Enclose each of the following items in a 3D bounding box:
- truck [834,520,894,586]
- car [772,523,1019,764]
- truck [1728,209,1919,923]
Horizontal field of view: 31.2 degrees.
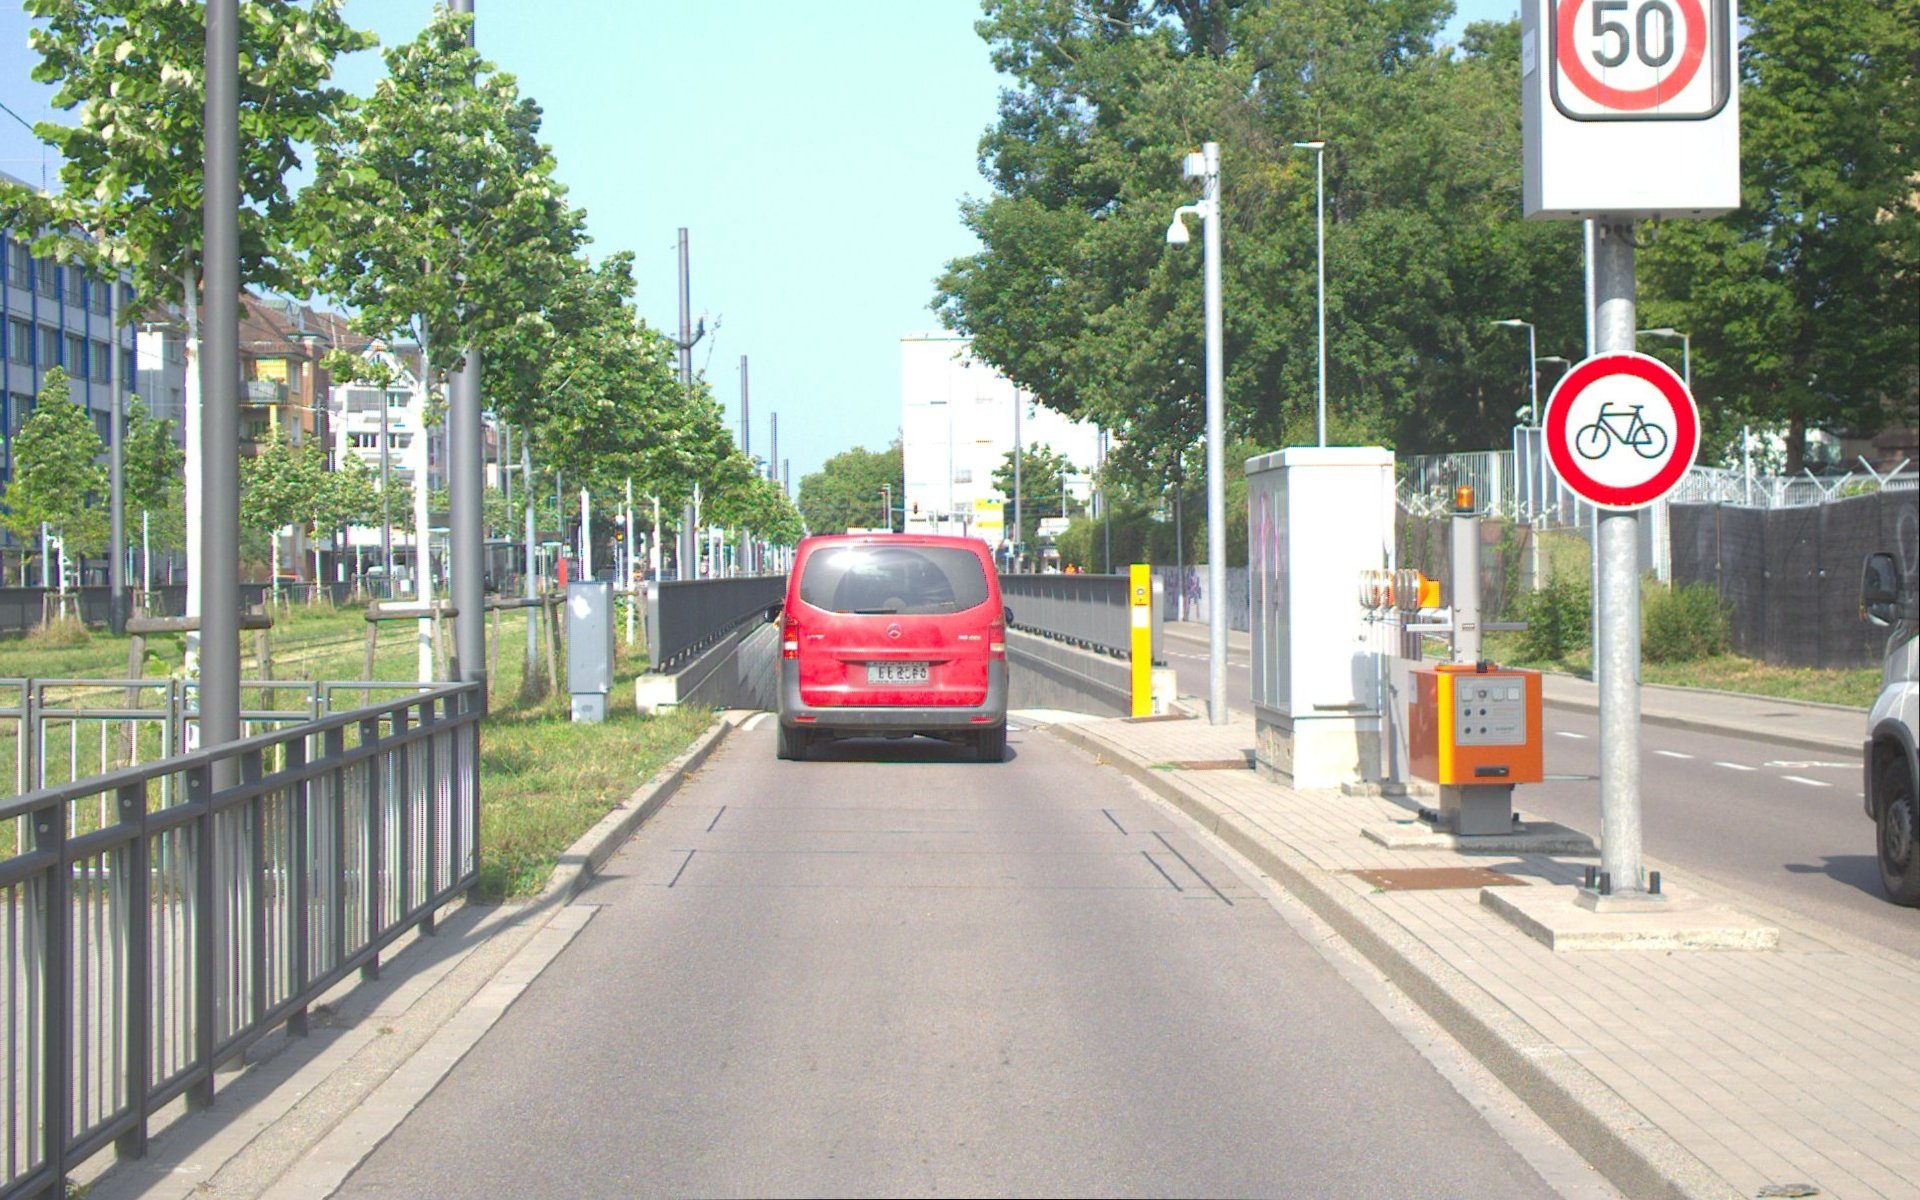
[{"bbox_3d":[-5.701,-2.731,203.246,3.390,3.713,10.452,-1,0,-2],"label":"truck"},{"bbox_3d":[-0.518,0.334,29.107,1.901,1.853,4.000,1,0,0],"label":"car"},{"bbox_3d":[5.380,-0.126,13.786,2.502,3.050,7.820,2,0,-2],"label":"truck"}]
